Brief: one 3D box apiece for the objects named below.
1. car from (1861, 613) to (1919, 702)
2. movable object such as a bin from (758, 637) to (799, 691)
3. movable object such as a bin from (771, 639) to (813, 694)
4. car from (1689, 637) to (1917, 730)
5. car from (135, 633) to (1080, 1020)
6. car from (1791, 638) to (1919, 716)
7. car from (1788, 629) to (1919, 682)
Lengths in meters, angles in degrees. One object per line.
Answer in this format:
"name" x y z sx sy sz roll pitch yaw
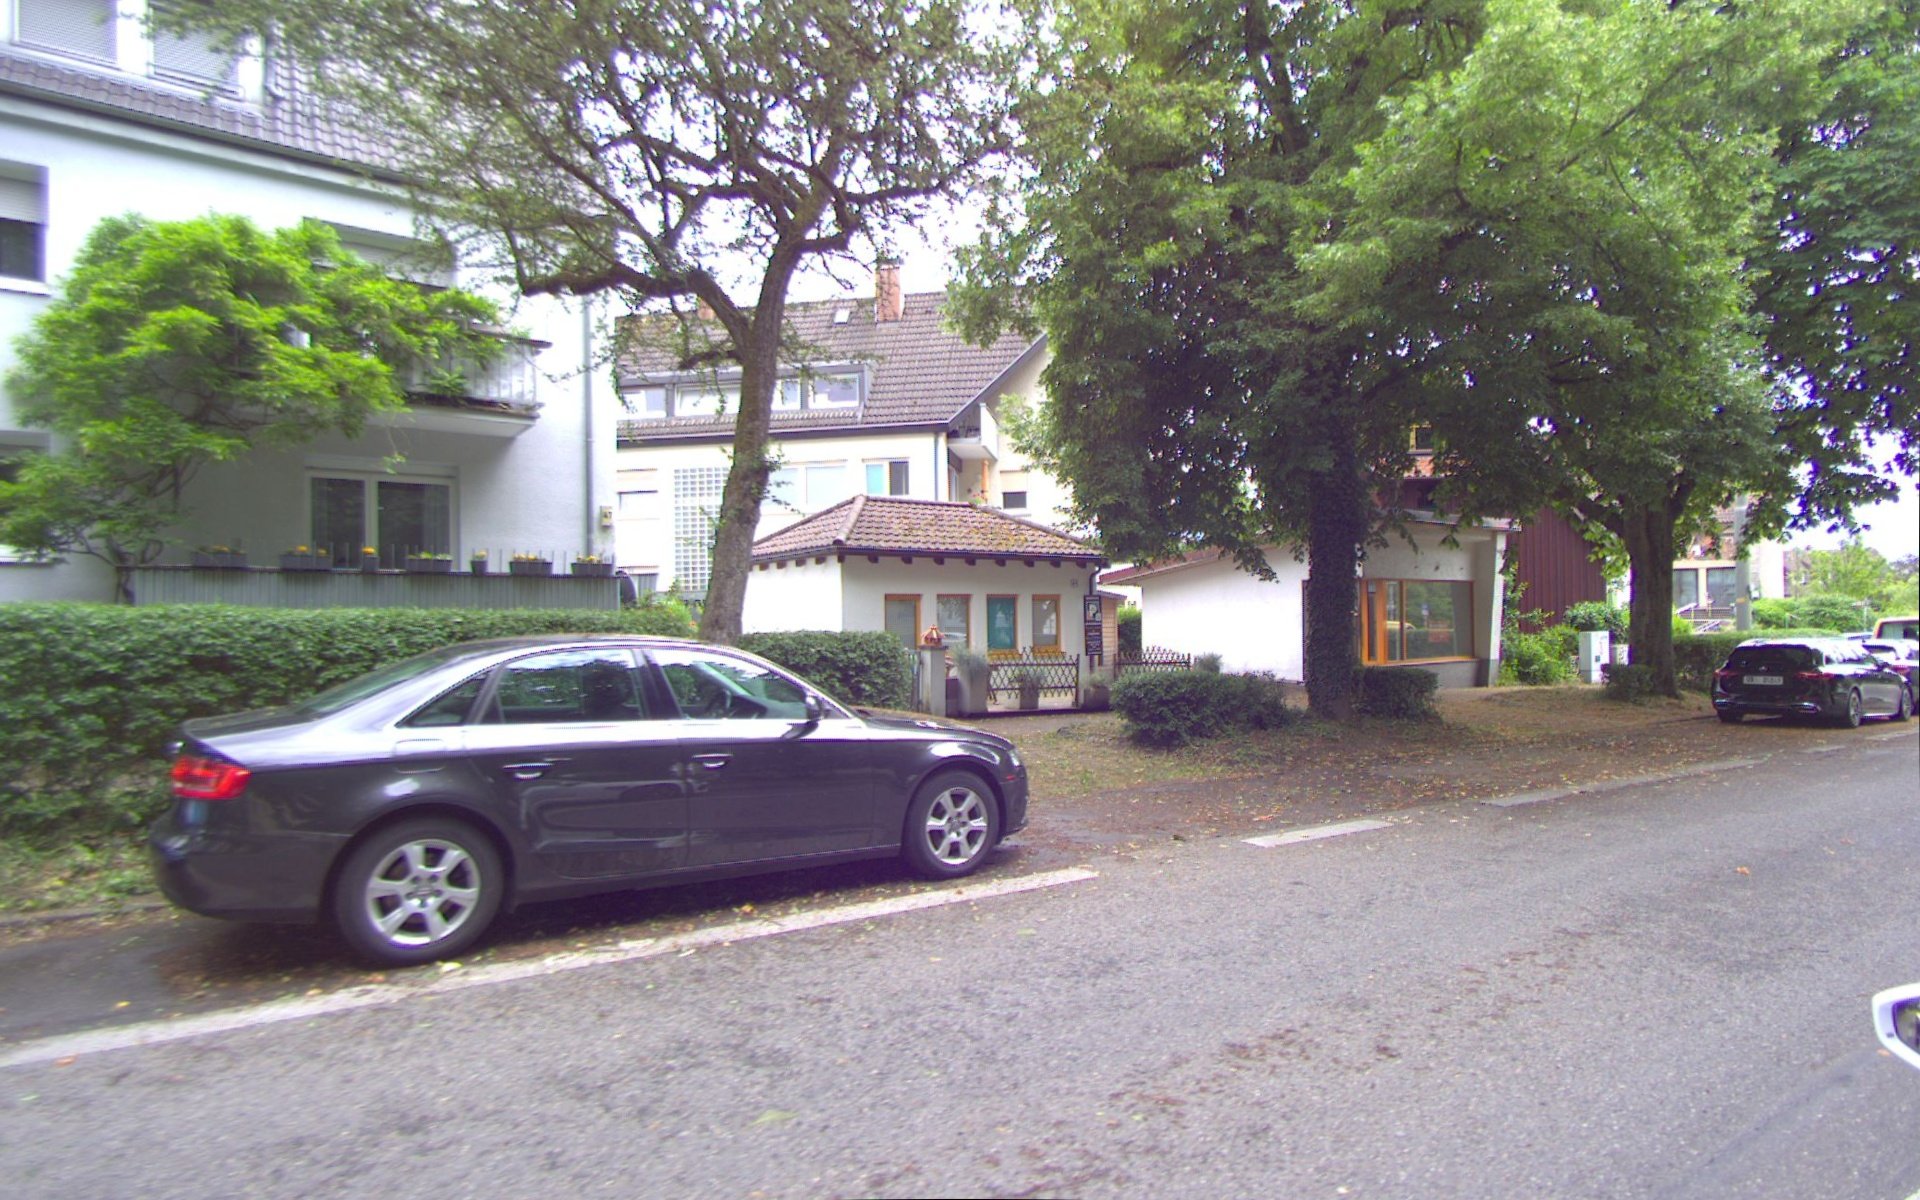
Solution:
"car" 23.289 1.367 24.103 4.468 1.989 1.842 2 -3 -40
"movable object such as a bin" -3.278 1.150 18.151 0.568 0.935 0.484 1 0 -33
"movable object such as a bin" -2.968 1.159 17.733 0.568 0.935 0.484 1 0 -33
"car" 14.723 1.376 17.476 4.507 1.429 1.880 2 -3 -34
"car" -1.641 0.915 5.779 4.596 1.429 1.784 1 -3 -34
"car" 18.883 1.505 20.636 4.149 1.434 1.782 1 -3 -36
"car" 28.472 1.694 31.204 1.785 1.530 3.955 -1 -1 -39
